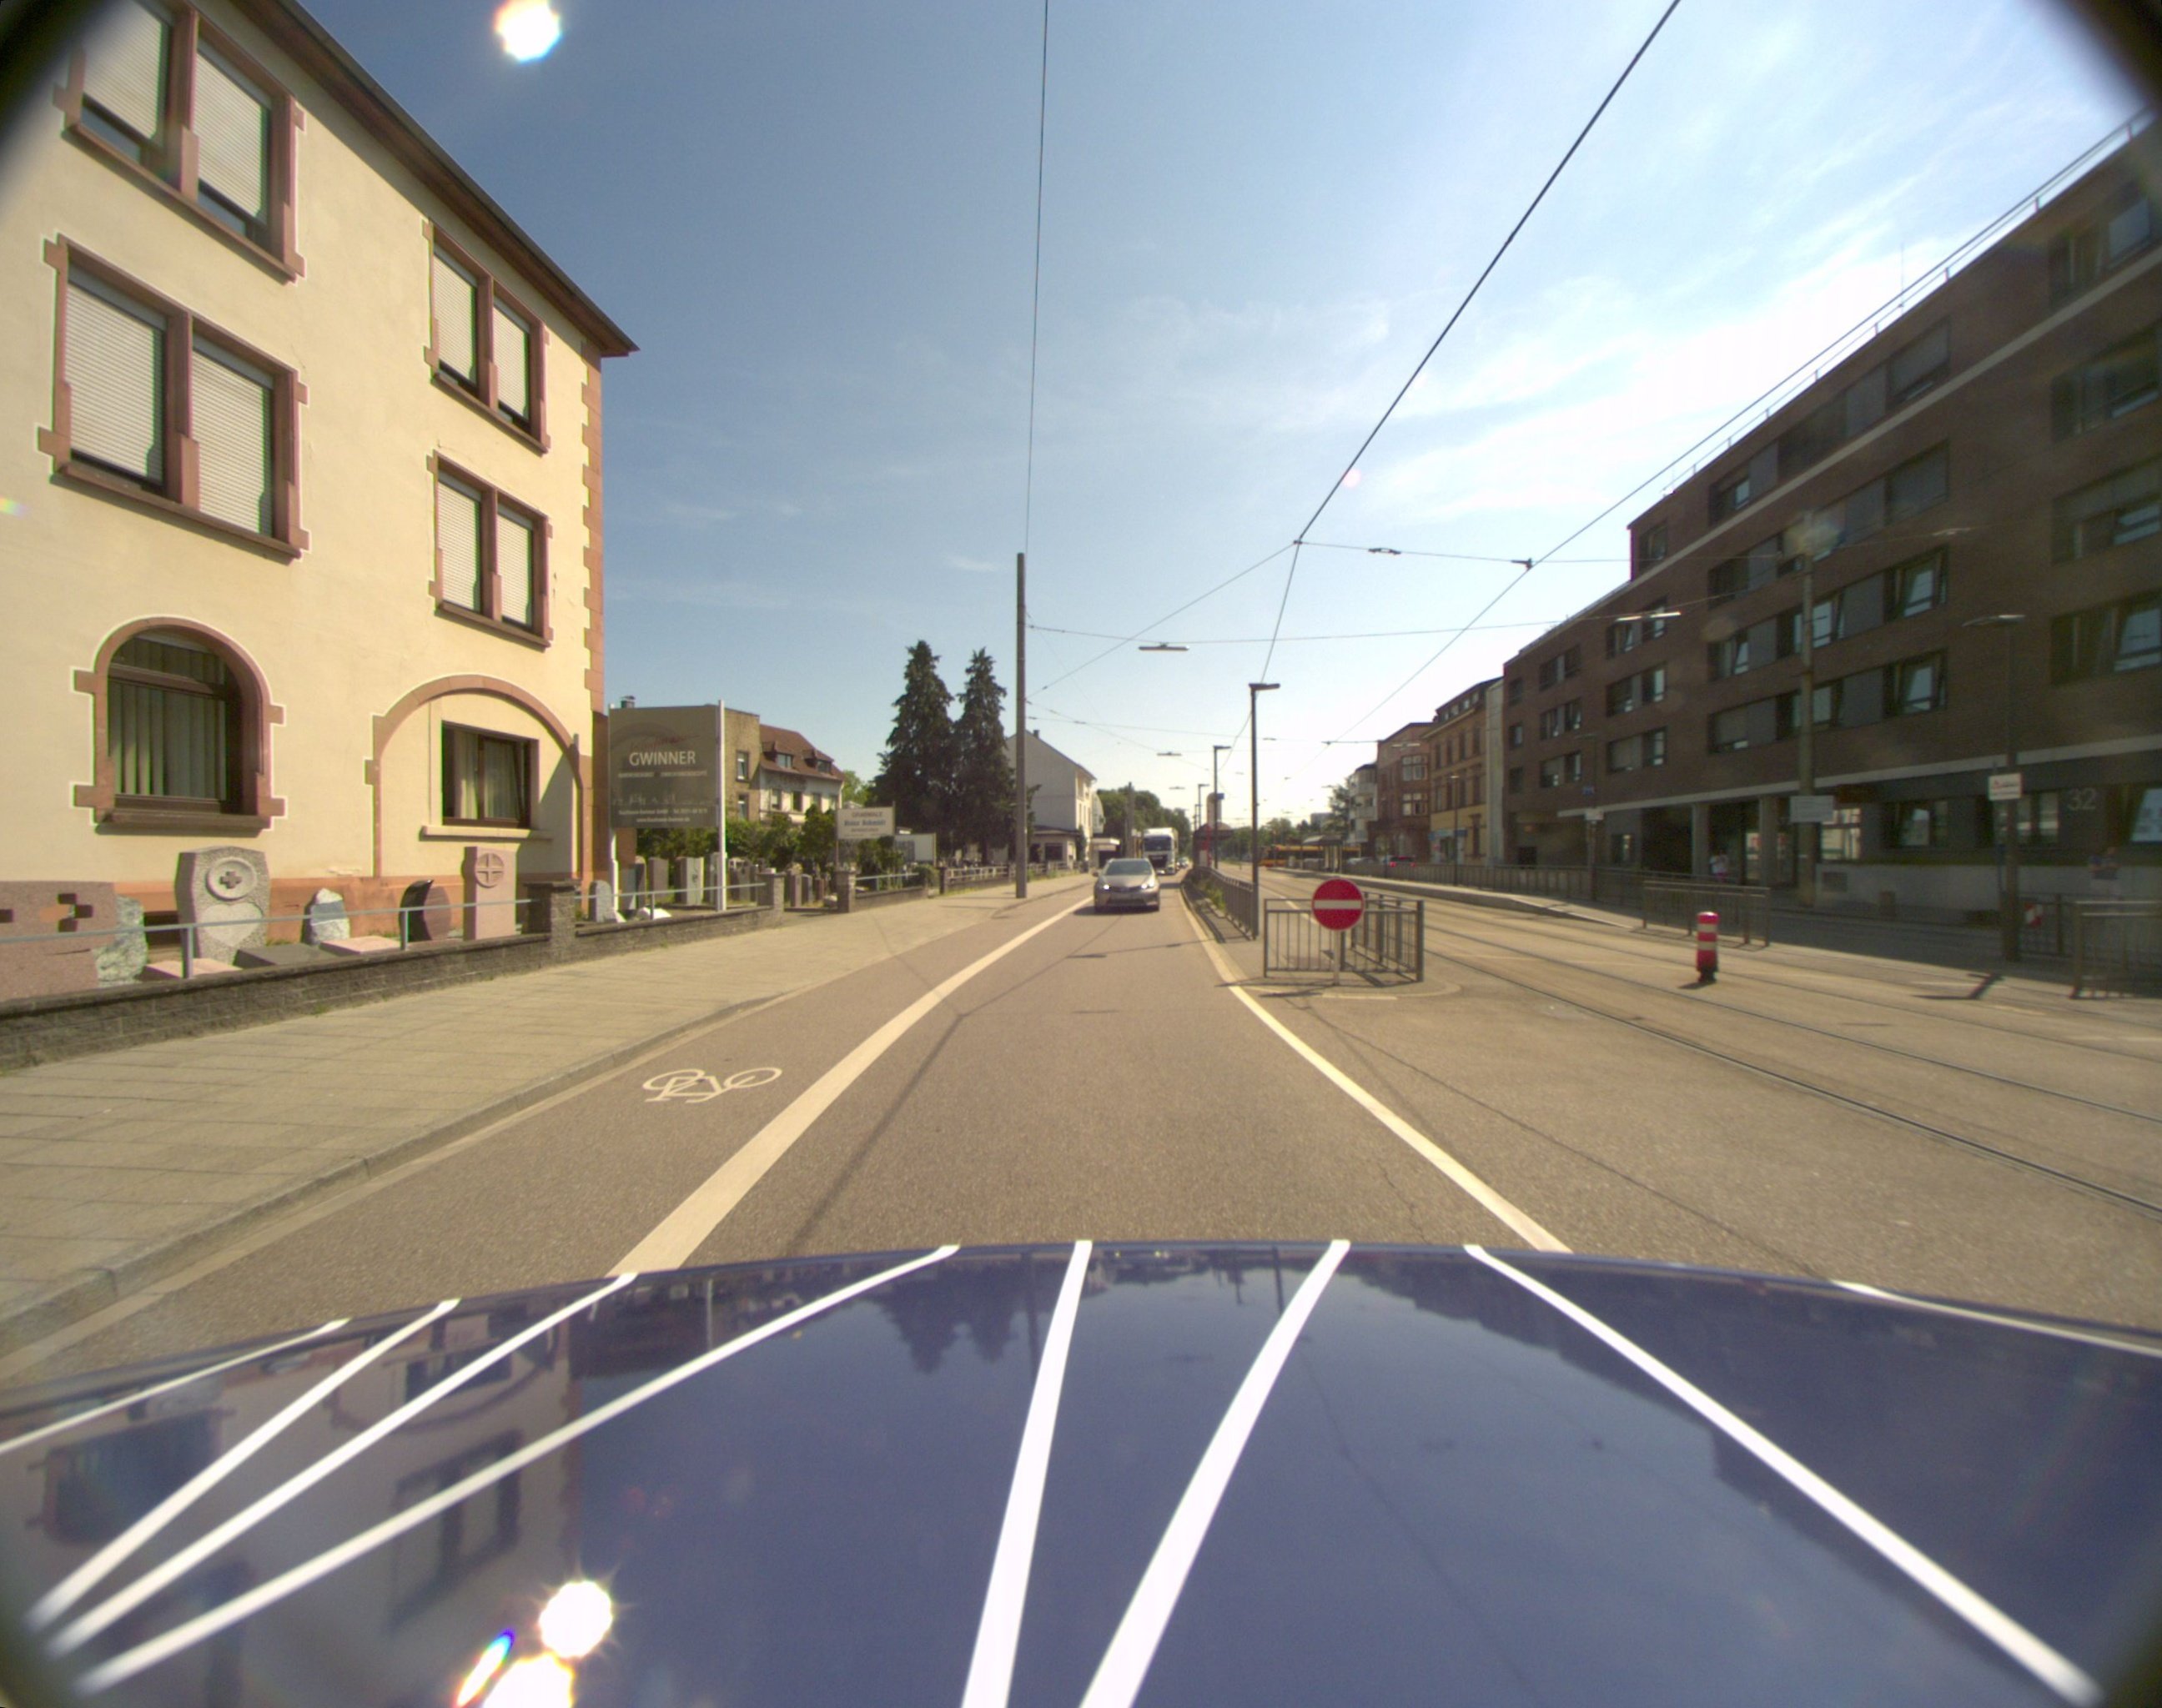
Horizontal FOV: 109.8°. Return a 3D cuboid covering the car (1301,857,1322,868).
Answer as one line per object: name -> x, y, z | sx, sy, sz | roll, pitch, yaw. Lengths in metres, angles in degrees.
car -> 27.231, 0.988, 89.912 | 1.715, 1.236, 4.082 | -2, 0, 8

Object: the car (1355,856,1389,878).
car -> 22.665, 0.965, 59.288 | 1.715, 1.613, 3.581 | -1, 0, 9

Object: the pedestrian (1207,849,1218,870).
pedestrian -> 11.936, 0.516, 69.029 | 0.982, 1.847, 1.238 | 0, 0, 9

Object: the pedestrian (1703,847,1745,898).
pedestrian -> 23.170, 0.661, 27.401 | 0.846, 1.808, 0.839 | 0, 0, 9

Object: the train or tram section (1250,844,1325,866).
train or tram section -> 33.624, 0.135, 123.406 | 13.357, 3.460, 2.682 | 0, 0, -27

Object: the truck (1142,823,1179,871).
truck -> 6.827, -0.534, 64.373 | 2.655, 3.772, 7.869 | 0, 0, 9

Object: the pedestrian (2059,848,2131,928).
pedestrian -> 21.444, 0.711, 16.082 | 0.582, 1.654, 0.700 | 0, 0, 7

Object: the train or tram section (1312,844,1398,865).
train or tram section -> 45.651, 0.068, 126.724 | 13.330, 3.460, 2.688 | 0, 0, -2

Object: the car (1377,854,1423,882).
car -> 21.205, 0.917, 50.631 | 1.804, 1.718, 4.192 | -2, -1, 9

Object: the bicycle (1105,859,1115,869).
bicycle -> 3.234, 1.135, 84.158 | 0.511, 1.127, 1.693 | 0, 0, 26

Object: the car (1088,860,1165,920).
car -> 1.361, 0.920, 21.035 | 1.694, 1.440, 4.484 | -1, 0, 9

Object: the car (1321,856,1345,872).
car -> 24.845, 1.008, 75.128 | 1.628, 1.460, 3.868 | -1, -1, 9

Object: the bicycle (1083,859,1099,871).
bicycle -> 0.957, 1.055, 73.162 | 1.529, 1.051, 0.398 | 3, 1, 10

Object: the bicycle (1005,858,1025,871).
bicycle -> -5.924, 0.937, 67.748 | 1.688, 1.104, 0.513 | 1, 0, 10
